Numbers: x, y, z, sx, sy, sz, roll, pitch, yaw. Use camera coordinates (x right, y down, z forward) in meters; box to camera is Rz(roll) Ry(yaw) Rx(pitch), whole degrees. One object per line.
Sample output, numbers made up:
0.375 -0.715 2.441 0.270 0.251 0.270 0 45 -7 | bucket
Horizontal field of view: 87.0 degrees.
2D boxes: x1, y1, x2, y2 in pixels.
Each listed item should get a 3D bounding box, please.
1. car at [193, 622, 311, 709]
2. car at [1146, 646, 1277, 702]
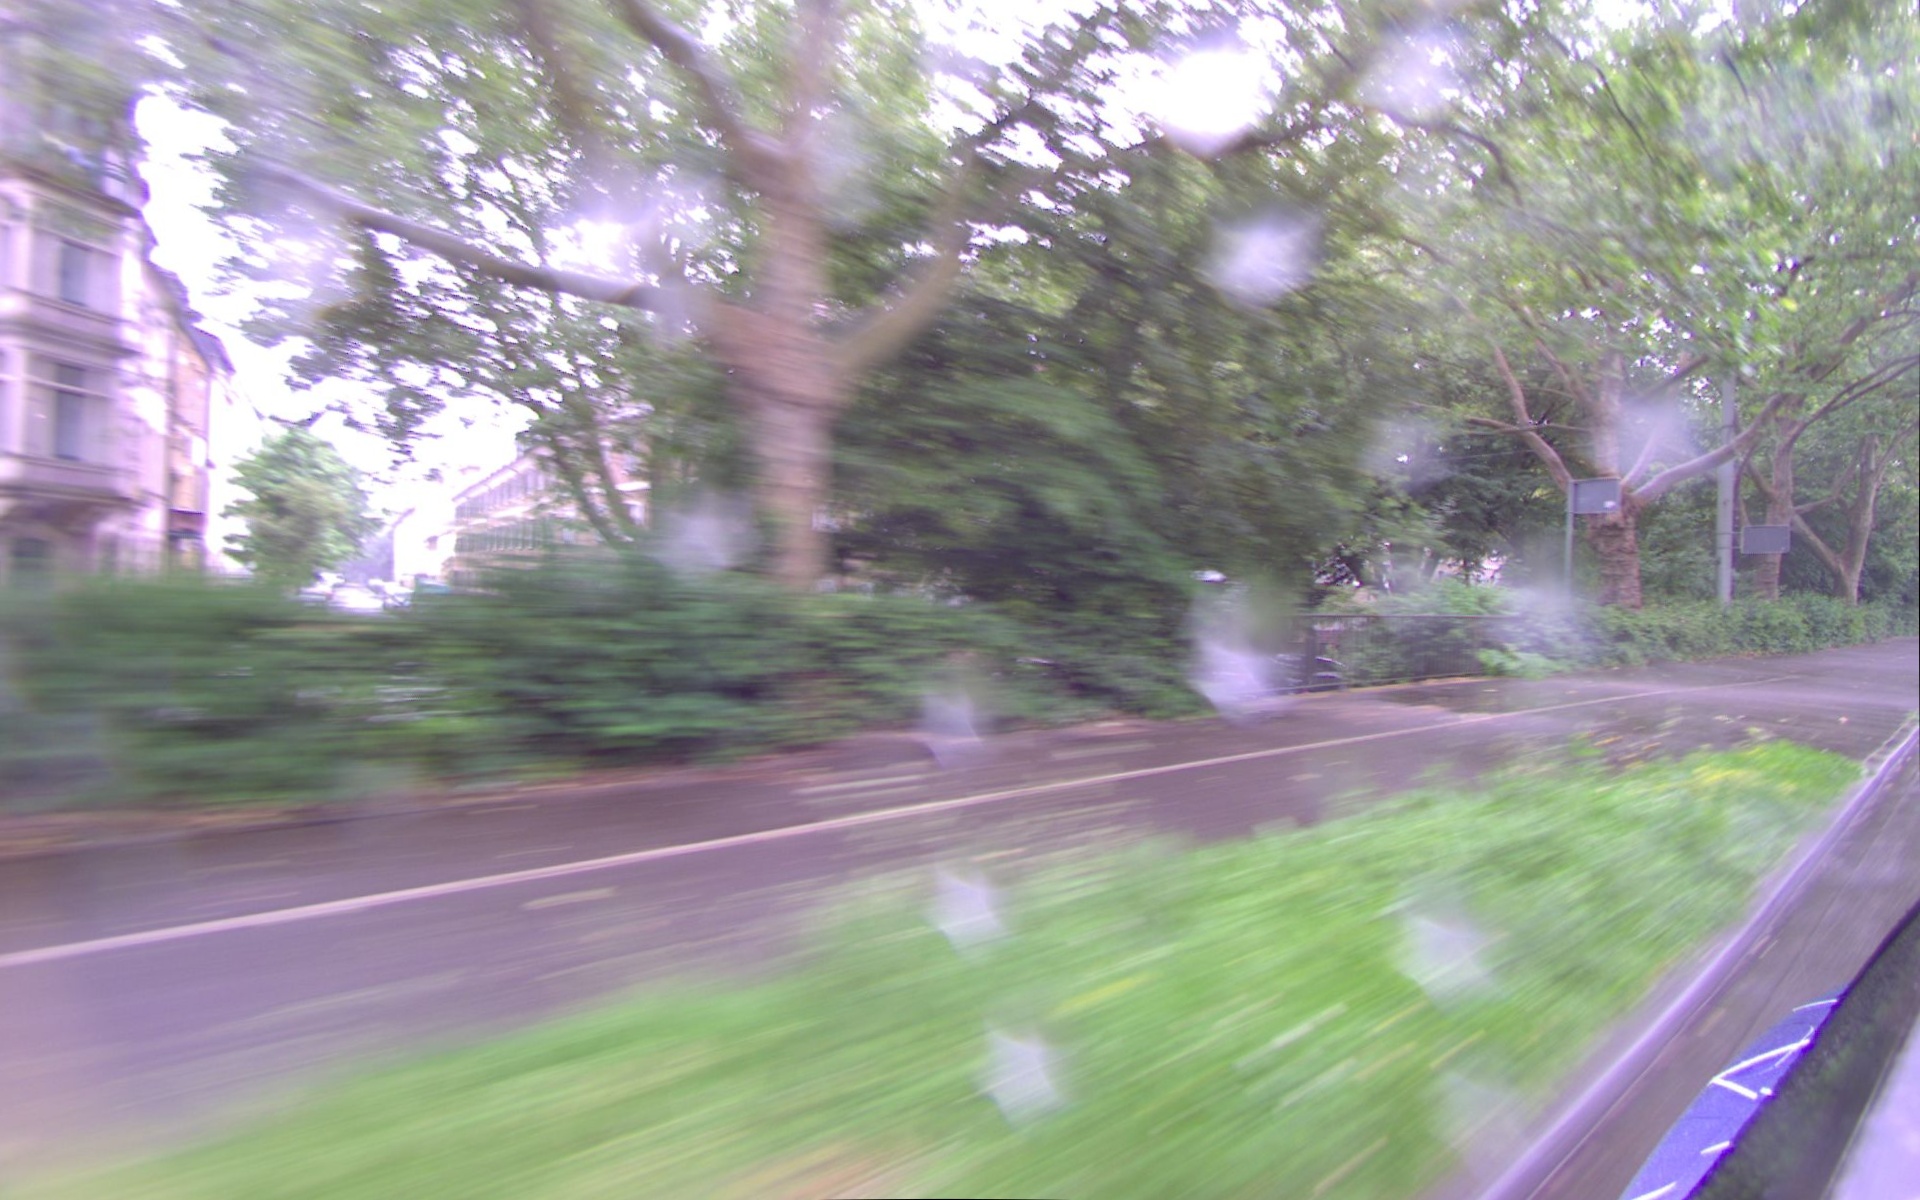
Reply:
-16.860 1.466 24.031 1.892 1.680 3.994 -1 2 -41 | car
8.866 2.564 35.945 1.736 1.466 4.271 2 2 -41 | car
